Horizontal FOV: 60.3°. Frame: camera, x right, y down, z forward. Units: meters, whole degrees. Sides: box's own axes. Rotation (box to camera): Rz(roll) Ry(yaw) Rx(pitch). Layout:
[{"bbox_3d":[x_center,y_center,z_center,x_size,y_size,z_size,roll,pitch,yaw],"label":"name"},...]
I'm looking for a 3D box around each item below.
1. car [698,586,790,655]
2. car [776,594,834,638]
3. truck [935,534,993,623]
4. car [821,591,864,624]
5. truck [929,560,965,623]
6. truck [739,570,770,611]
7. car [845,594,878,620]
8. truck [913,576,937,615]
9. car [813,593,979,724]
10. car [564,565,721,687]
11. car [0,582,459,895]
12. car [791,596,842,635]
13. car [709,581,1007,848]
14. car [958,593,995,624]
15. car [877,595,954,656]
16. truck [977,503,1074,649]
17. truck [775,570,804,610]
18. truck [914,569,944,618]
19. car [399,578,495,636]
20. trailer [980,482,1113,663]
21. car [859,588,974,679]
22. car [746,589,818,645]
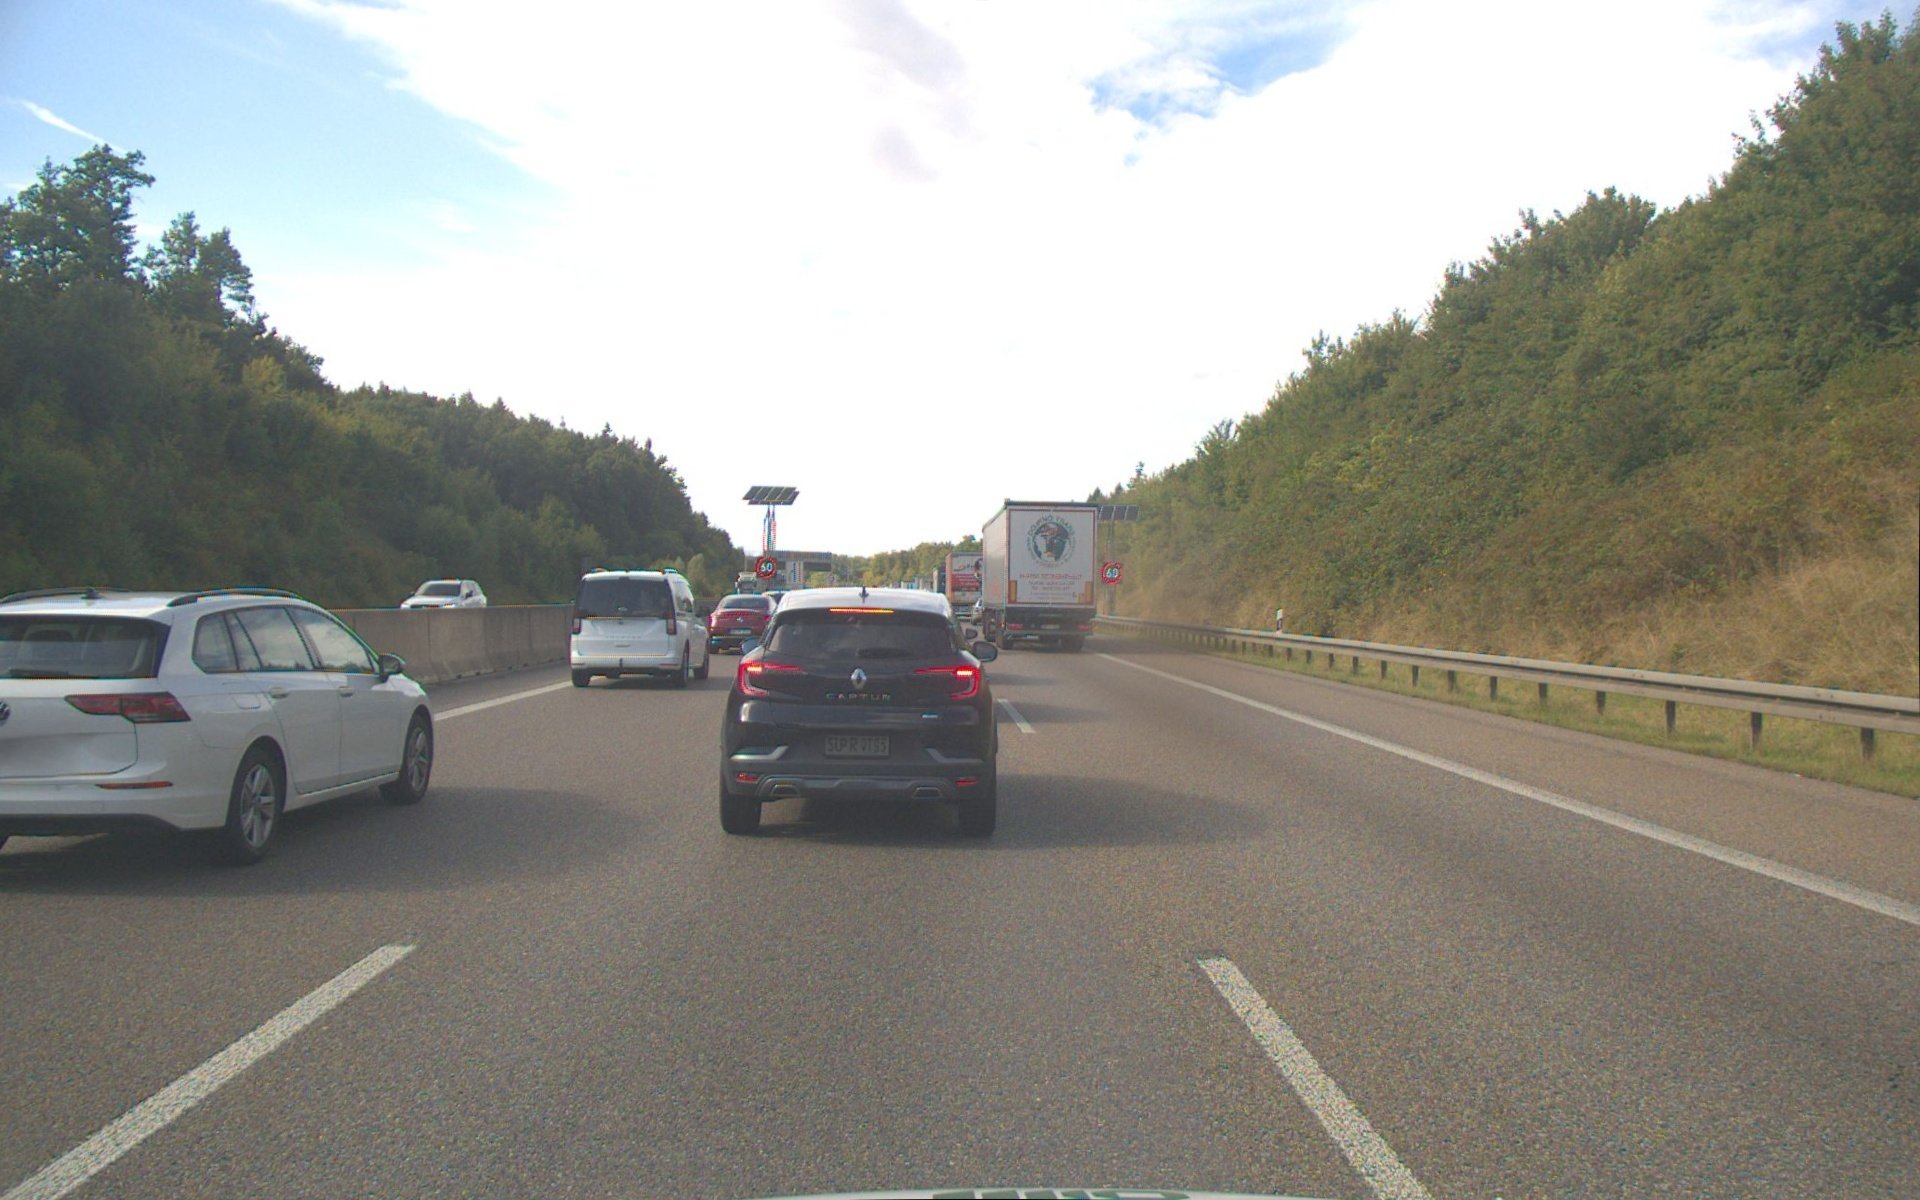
[{"bbox_3d":[-5.440,0.510,42.055,1.818,1.669,3.925,1,0,0],"label":"car"},{"bbox_3d":[-6.117,0.623,65.610,1.953,1.641,3.999,1,0,-1],"label":"car"},{"bbox_3d":[0.204,-1.222,102.535,3.296,5.132,12.735,1,0,0],"label":"truck"},{"bbox_3d":[-5.972,0.376,84.218,1.953,1.641,3.999,1,0,-1],"label":"car"},{"bbox_3d":[-1.233,-0.685,154.393,3.102,5.601,12.735,1,0,0],"label":"truck"},{"bbox_3d":[-26.289,-1.211,211.844,2.832,5.182,10.077,1,0,-2],"label":"truck"},{"bbox_3d":[-6.351,0.425,107.023,1.953,1.641,3.999,1,0,-1],"label":"car"},{"bbox_3d":[-4.846,-0.587,230.563,3.102,5.250,12.735,1,0,0],"label":"truck"},{"bbox_3d":[-0.790,0.713,21.746,1.953,1.540,3.999,1,0,-1],"label":"car"},{"bbox_3d":[-5.137,0.410,27.332,1.873,1.821,4.415,1,0,-2],"label":"car"},{"bbox_3d":[-4.591,0.670,10.062,1.768,1.486,4.308,0,0,0],"label":"car"},{"bbox_3d":[-6.310,0.670,73.140,1.953,1.641,3.999,1,0,-1],"label":"car"},{"bbox_3d":[-0.567,0.682,11.836,1.767,1.579,4.000,0,0,1],"label":"car"},{"bbox_3d":[0.848,0.458,87.339,1.768,1.559,3.924,1,0,-2],"label":"car"},{"bbox_3d":[-1.173,0.675,44.516,1.953,1.540,3.999,1,0,-1],"label":"car"},{"bbox_3d":[2.185,-0.785,57.126,2.936,4.749,5.937,0,0,-2],"label":"truck"},{"bbox_3d":[-21.670,-1.270,210.686,2.832,5.021,10.077,1,0,-2],"label":"truck"},{"bbox_3d":[-3.624,-0.742,195.855,3.101,5.601,12.738,1,0,1],"label":"truck"},{"bbox_3d":[-17.277,0.216,55.919,1.814,1.841,4.923,1,0,-2],"label":"car"},{"bbox_3d":[2.360,-0.750,50.241,2.941,4.742,13.286,1,0,-2],"label":"trailer"},{"bbox_3d":[-0.766,0.588,30.412,1.953,1.540,3.999,1,0,-1],"label":"car"},{"bbox_3d":[-5.799,0.553,54.370,1.953,1.752,3.999,1,0,-1],"label":"car"}]
